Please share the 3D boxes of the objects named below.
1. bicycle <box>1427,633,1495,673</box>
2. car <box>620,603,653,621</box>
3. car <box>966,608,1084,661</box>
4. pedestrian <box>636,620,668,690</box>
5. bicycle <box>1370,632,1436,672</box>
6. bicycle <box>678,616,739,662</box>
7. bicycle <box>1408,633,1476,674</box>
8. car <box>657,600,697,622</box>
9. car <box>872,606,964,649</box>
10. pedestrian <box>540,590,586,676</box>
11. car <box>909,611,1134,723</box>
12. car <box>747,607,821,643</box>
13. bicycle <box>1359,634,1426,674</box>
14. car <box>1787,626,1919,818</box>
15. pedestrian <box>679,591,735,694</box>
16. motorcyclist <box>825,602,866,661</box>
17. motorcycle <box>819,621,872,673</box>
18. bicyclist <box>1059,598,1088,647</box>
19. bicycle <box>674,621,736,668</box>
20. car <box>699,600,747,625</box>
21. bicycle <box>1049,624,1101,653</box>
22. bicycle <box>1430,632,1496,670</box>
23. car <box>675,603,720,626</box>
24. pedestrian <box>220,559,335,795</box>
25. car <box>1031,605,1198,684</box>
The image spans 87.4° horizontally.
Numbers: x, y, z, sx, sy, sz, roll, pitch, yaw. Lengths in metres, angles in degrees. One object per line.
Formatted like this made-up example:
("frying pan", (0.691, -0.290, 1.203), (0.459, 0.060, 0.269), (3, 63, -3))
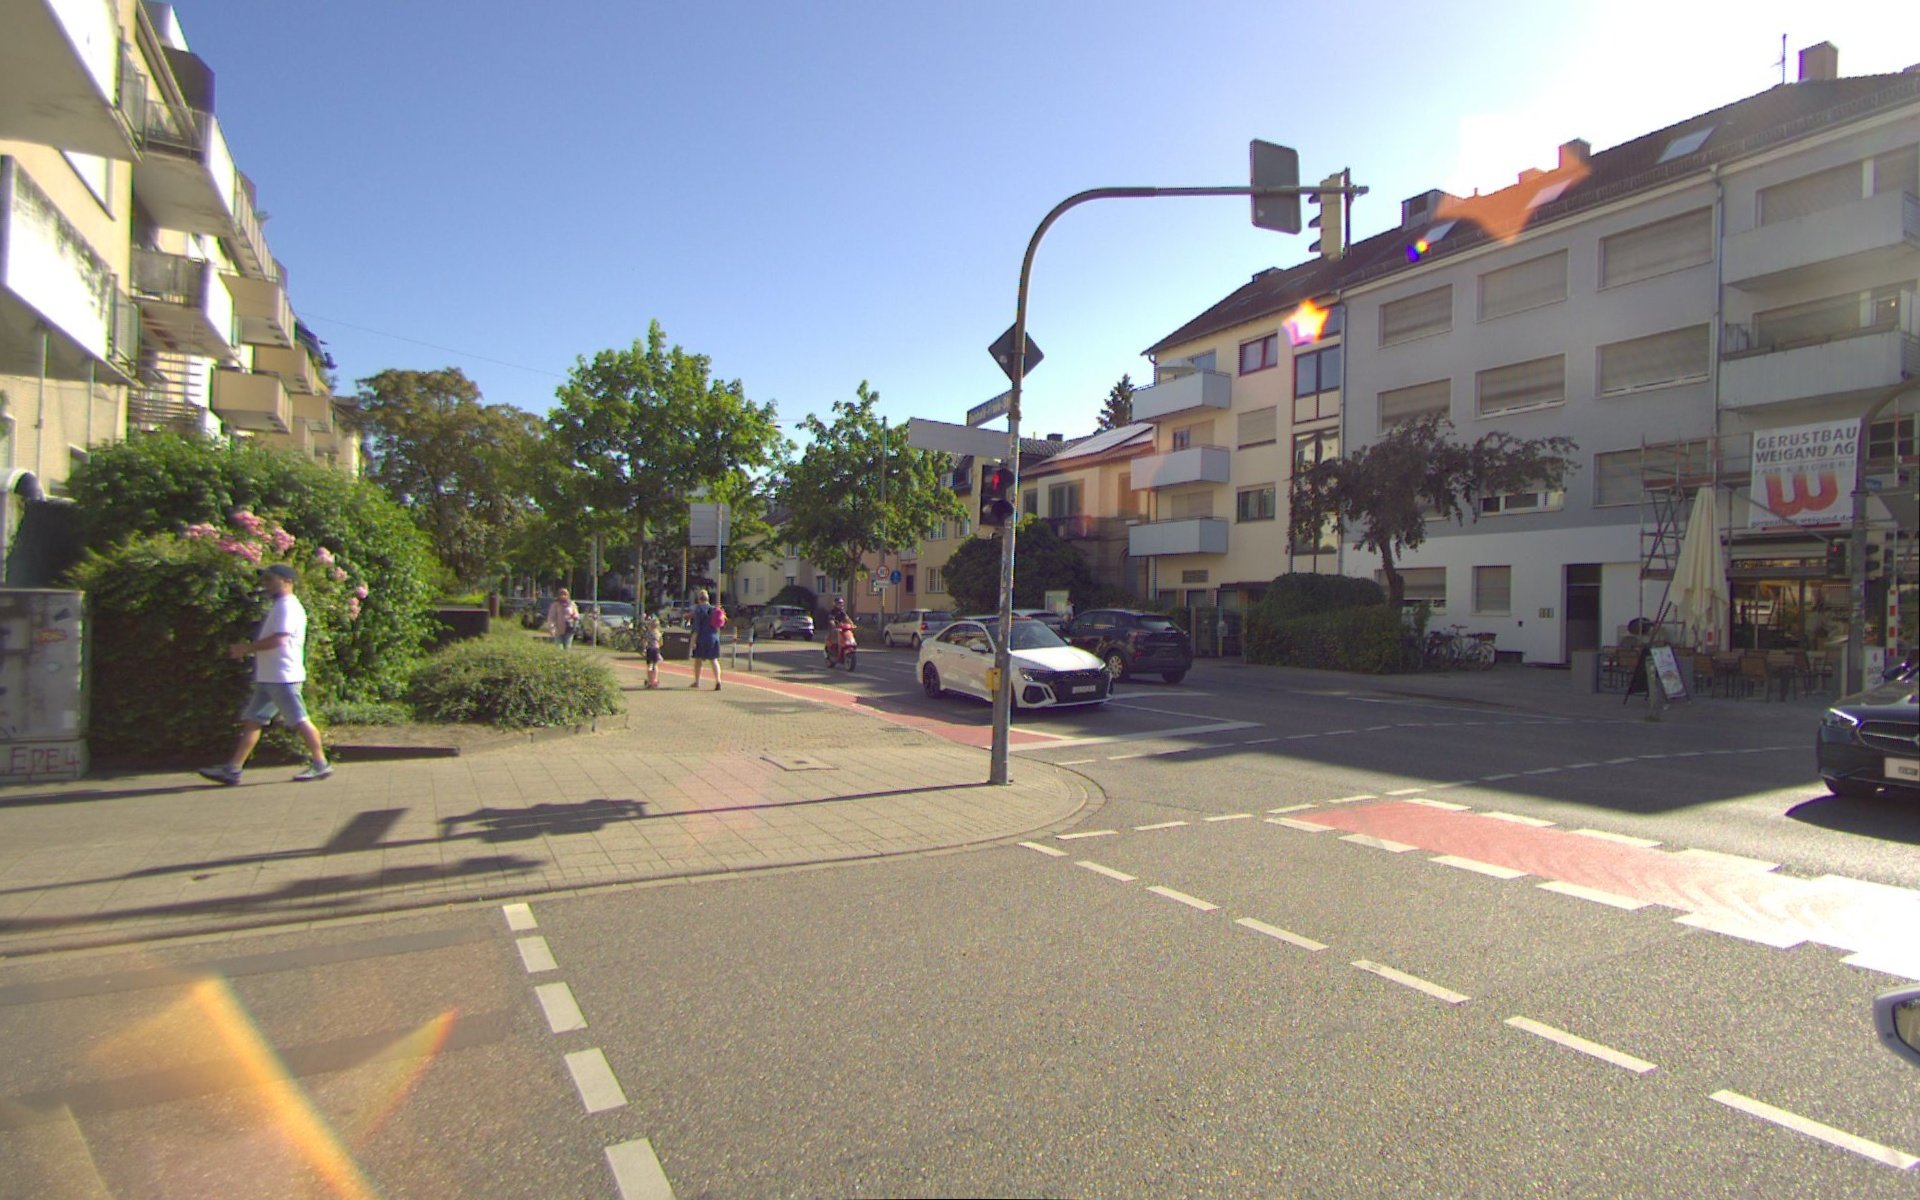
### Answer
("bicycle", (12.930, 1.359, 25.947), (0.506, 0.952, 1.583), (1, -1, -27))
("car", (-27.860, 1.011, 86.415), (1.893, 1.449, 3.969), (-1, 1, -29))
("car", (1.997, 1.042, 31.866), (1.893, 1.539, 3.969), (0, 0, -29))
("pedestrian", (-5.220, 0.923, 16.999), (0.382, 1.161, 0.527), (1, 0, -31))
("bicycle", (11.289, 1.312, 25.653), (0.506, 0.952, 1.583), (1, -1, -27))
("bicycle", (-6.933, 1.067, 27.735), (1.550, 1.177, 0.447), (1, 14, -7))
("bicycle", (12.228, 1.340, 25.531), (0.506, 0.952, 1.583), (1, -1, -27))
("car", (-20.561, 0.781, 72.960), (1.893, 1.449, 3.969), (-1, 1, -29))
("car", (-1.640, 0.995, 37.792), (1.893, 1.449, 3.969), (-1, 1, -29))
("pedestrian", (-7.584, 0.620, 19.185), (0.688, 1.617, 0.642), (1, 0, -31))
("car", (0.877, 1.007, 17.005), (1.909, 1.455, 4.238), (-3, 2, -27))
("car", (-7.658, 1.041, 43.324), (1.822, 1.453, 4.142), (1, -1, -30))
("bicycle", (10.824, 1.337, 25.186), (0.506, 0.952, 1.583), (1, -1, -27))
("car", (9.126, 0.947, 8.435), (4.369, 1.431, 1.798), (1, -2, -27))
("pedestrian", (-4.311, 0.704, 17.095), (0.570, 1.705, 0.958), (1, 0, -38))
("motorcyclist", (-2.739, 0.731, 23.996), (0.747, 1.374, 0.787), (-1, 1, -26))
("motorcycle", (-2.750, 1.097, 24.021), (0.739, 1.149, 1.672), (-1, 0, -26))
("bicyclist", (3.751, 0.729, 33.155), (0.548, 1.569, 0.808), (1, 0, -30))
("bicycle", (-6.888, 1.207, 27.221), (1.550, 1.177, 0.447), (1, 14, -7))
("car", (-14.917, 0.771, 63.069), (1.893, 1.449, 3.969), (-1, 1, -29))
("bicycle", (3.770, 1.259, 33.108), (0.548, 0.845, 2.114), (1, 0, -30))
("bicycle", (13.332, 1.335, 26.647), (0.506, 0.952, 1.583), (1, -1, -27))
("car", (-17.543, 0.952, 67.003), (1.893, 1.449, 3.969), (-1, 1, -29))
("pedestrian", (-5.250, 0.563, 7.724), (0.664, 1.711, 0.568), (1, 0, -39))
("car", (3.302, 0.938, 22.215), (1.577, 1.586, 4.061), (2, -2, -27))
